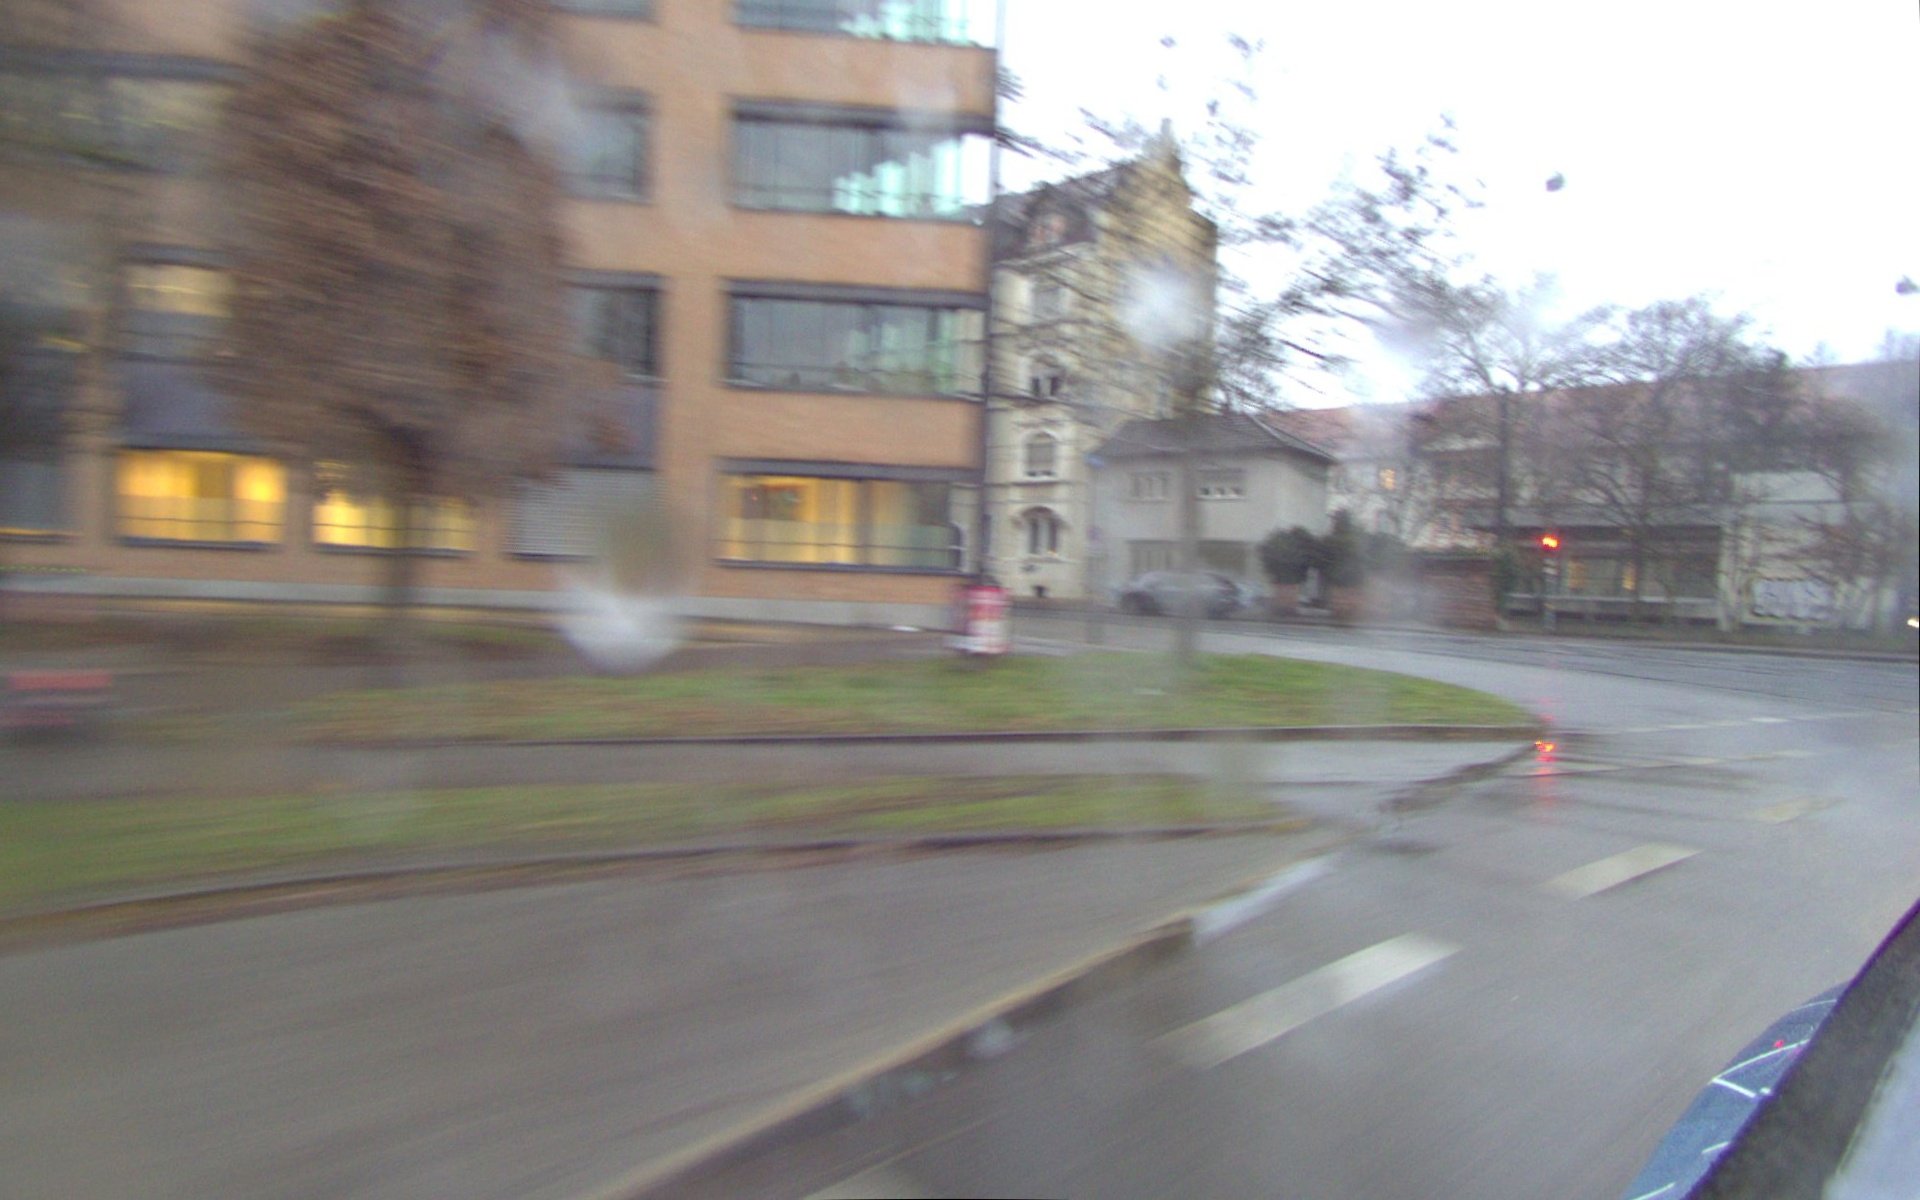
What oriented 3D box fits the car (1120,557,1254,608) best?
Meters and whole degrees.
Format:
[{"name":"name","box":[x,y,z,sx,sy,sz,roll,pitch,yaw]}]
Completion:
[{"name":"car","box":[8.474,-0.677,37.975,4.490,1.690,1.973,4,2,38]}]

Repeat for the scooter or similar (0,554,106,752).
[{"name":"scooter or similar","box":[-6.428,0.319,6.907,1.134,1.247,0.483,3,1,25]}]

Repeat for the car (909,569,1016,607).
[{"name":"car","box":[0.073,-0.553,44.580,4.496,1.458,1.970,4,2,42]}]
